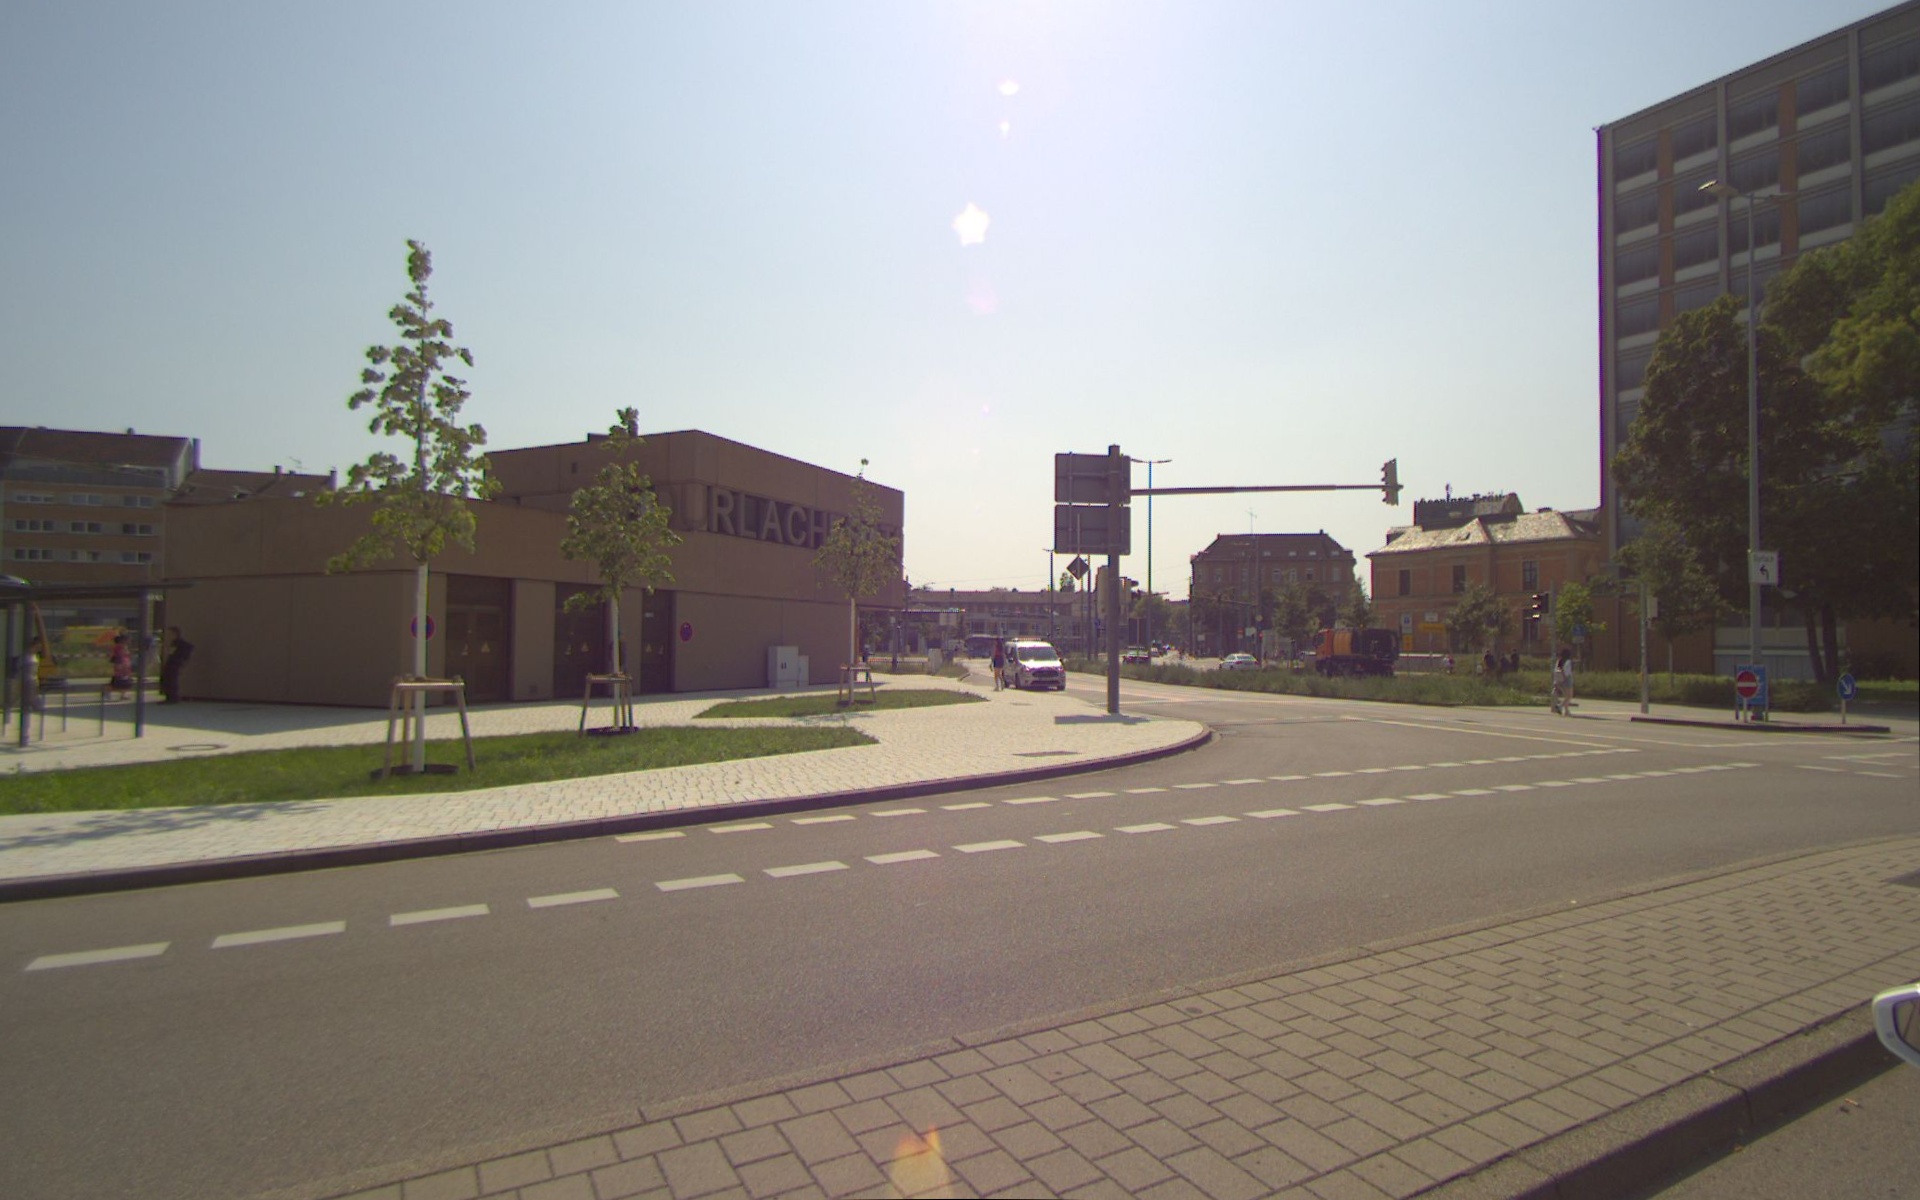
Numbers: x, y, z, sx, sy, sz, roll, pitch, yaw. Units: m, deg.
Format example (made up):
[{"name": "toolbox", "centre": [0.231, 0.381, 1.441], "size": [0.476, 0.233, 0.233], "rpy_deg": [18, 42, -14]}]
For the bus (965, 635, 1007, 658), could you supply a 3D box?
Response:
[{"name": "bus", "centre": [3.721, 6.485, 139.236], "size": [3.002, 2.969, 11.861], "rpy_deg": [0, -3, 15]}]

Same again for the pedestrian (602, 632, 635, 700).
[{"name": "pedestrian", "centre": [-8.720, 1.670, 25.656], "size": [0.558, 1.700, 0.536], "rpy_deg": [-1, -2, 25]}]

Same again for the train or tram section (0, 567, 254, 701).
[{"name": "train or tram section", "centre": [-26.264, 1.017, 29.858], "size": [3.086, 3.616, 8.239], "rpy_deg": [-2, -2, 25]}]

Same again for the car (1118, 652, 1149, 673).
[{"name": "car", "centre": [12.752, 4.608, 74.122], "size": [1.728, 1.422, 3.983], "rpy_deg": [2, -2, 3]}]

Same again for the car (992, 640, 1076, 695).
[{"name": "car", "centre": [2.727, 2.495, 37.968], "size": [1.965, 1.884, 4.325], "rpy_deg": [-1, -2, -12]}]

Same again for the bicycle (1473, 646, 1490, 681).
[{"name": "bicycle", "centre": [28.021, 3.402, 53.985], "size": [0.447, 1.884, 1.364], "rpy_deg": [0, -2, 10]}]

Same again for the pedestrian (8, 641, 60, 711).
[{"name": "pedestrian", "centre": [-19.230, 1.572, 20.871], "size": [0.660, 1.429, 0.440], "rpy_deg": [2, -2, -31]}]

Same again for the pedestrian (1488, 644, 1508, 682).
[{"name": "pedestrian", "centre": [28.878, 3.375, 53.942], "size": [0.764, 1.999, 0.754], "rpy_deg": [0, -2, 13]}]

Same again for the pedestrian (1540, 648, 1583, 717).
[{"name": "pedestrian", "centre": [15.353, 2.095, 25.657], "size": [0.688, 1.717, 0.606], "rpy_deg": [1, -2, -12]}]

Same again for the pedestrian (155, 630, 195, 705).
[{"name": "pedestrian", "centre": [-18.212, 1.555, 23.306], "size": [0.435, 1.700, 0.568], "rpy_deg": [-1, -2, 25]}]

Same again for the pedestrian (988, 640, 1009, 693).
[{"name": "pedestrian", "centre": [1.267, 2.210, 33.522], "size": [0.616, 1.725, 0.787], "rpy_deg": [0, -2, -4]}]

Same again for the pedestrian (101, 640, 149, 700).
[{"name": "pedestrian", "centre": [-20.252, 1.693, 24.366], "size": [0.436, 1.429, 0.744], "rpy_deg": [-1, -2, 29]}]

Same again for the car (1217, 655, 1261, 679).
[{"name": "car", "centre": [19.100, 4.559, 69.027], "size": [1.729, 1.474, 4.426], "rpy_deg": [2, -2, -1]}]

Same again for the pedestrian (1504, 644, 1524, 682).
[{"name": "pedestrian", "centre": [30.100, 3.413, 54.563], "size": [0.764, 1.999, 0.754], "rpy_deg": [0, -2, 13]}]

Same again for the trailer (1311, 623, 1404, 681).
[{"name": "trailer", "centre": [22.562, 2.949, 57.336], "size": [2.424, 3.047, 6.323], "rpy_deg": [3, -2, -4]}]
